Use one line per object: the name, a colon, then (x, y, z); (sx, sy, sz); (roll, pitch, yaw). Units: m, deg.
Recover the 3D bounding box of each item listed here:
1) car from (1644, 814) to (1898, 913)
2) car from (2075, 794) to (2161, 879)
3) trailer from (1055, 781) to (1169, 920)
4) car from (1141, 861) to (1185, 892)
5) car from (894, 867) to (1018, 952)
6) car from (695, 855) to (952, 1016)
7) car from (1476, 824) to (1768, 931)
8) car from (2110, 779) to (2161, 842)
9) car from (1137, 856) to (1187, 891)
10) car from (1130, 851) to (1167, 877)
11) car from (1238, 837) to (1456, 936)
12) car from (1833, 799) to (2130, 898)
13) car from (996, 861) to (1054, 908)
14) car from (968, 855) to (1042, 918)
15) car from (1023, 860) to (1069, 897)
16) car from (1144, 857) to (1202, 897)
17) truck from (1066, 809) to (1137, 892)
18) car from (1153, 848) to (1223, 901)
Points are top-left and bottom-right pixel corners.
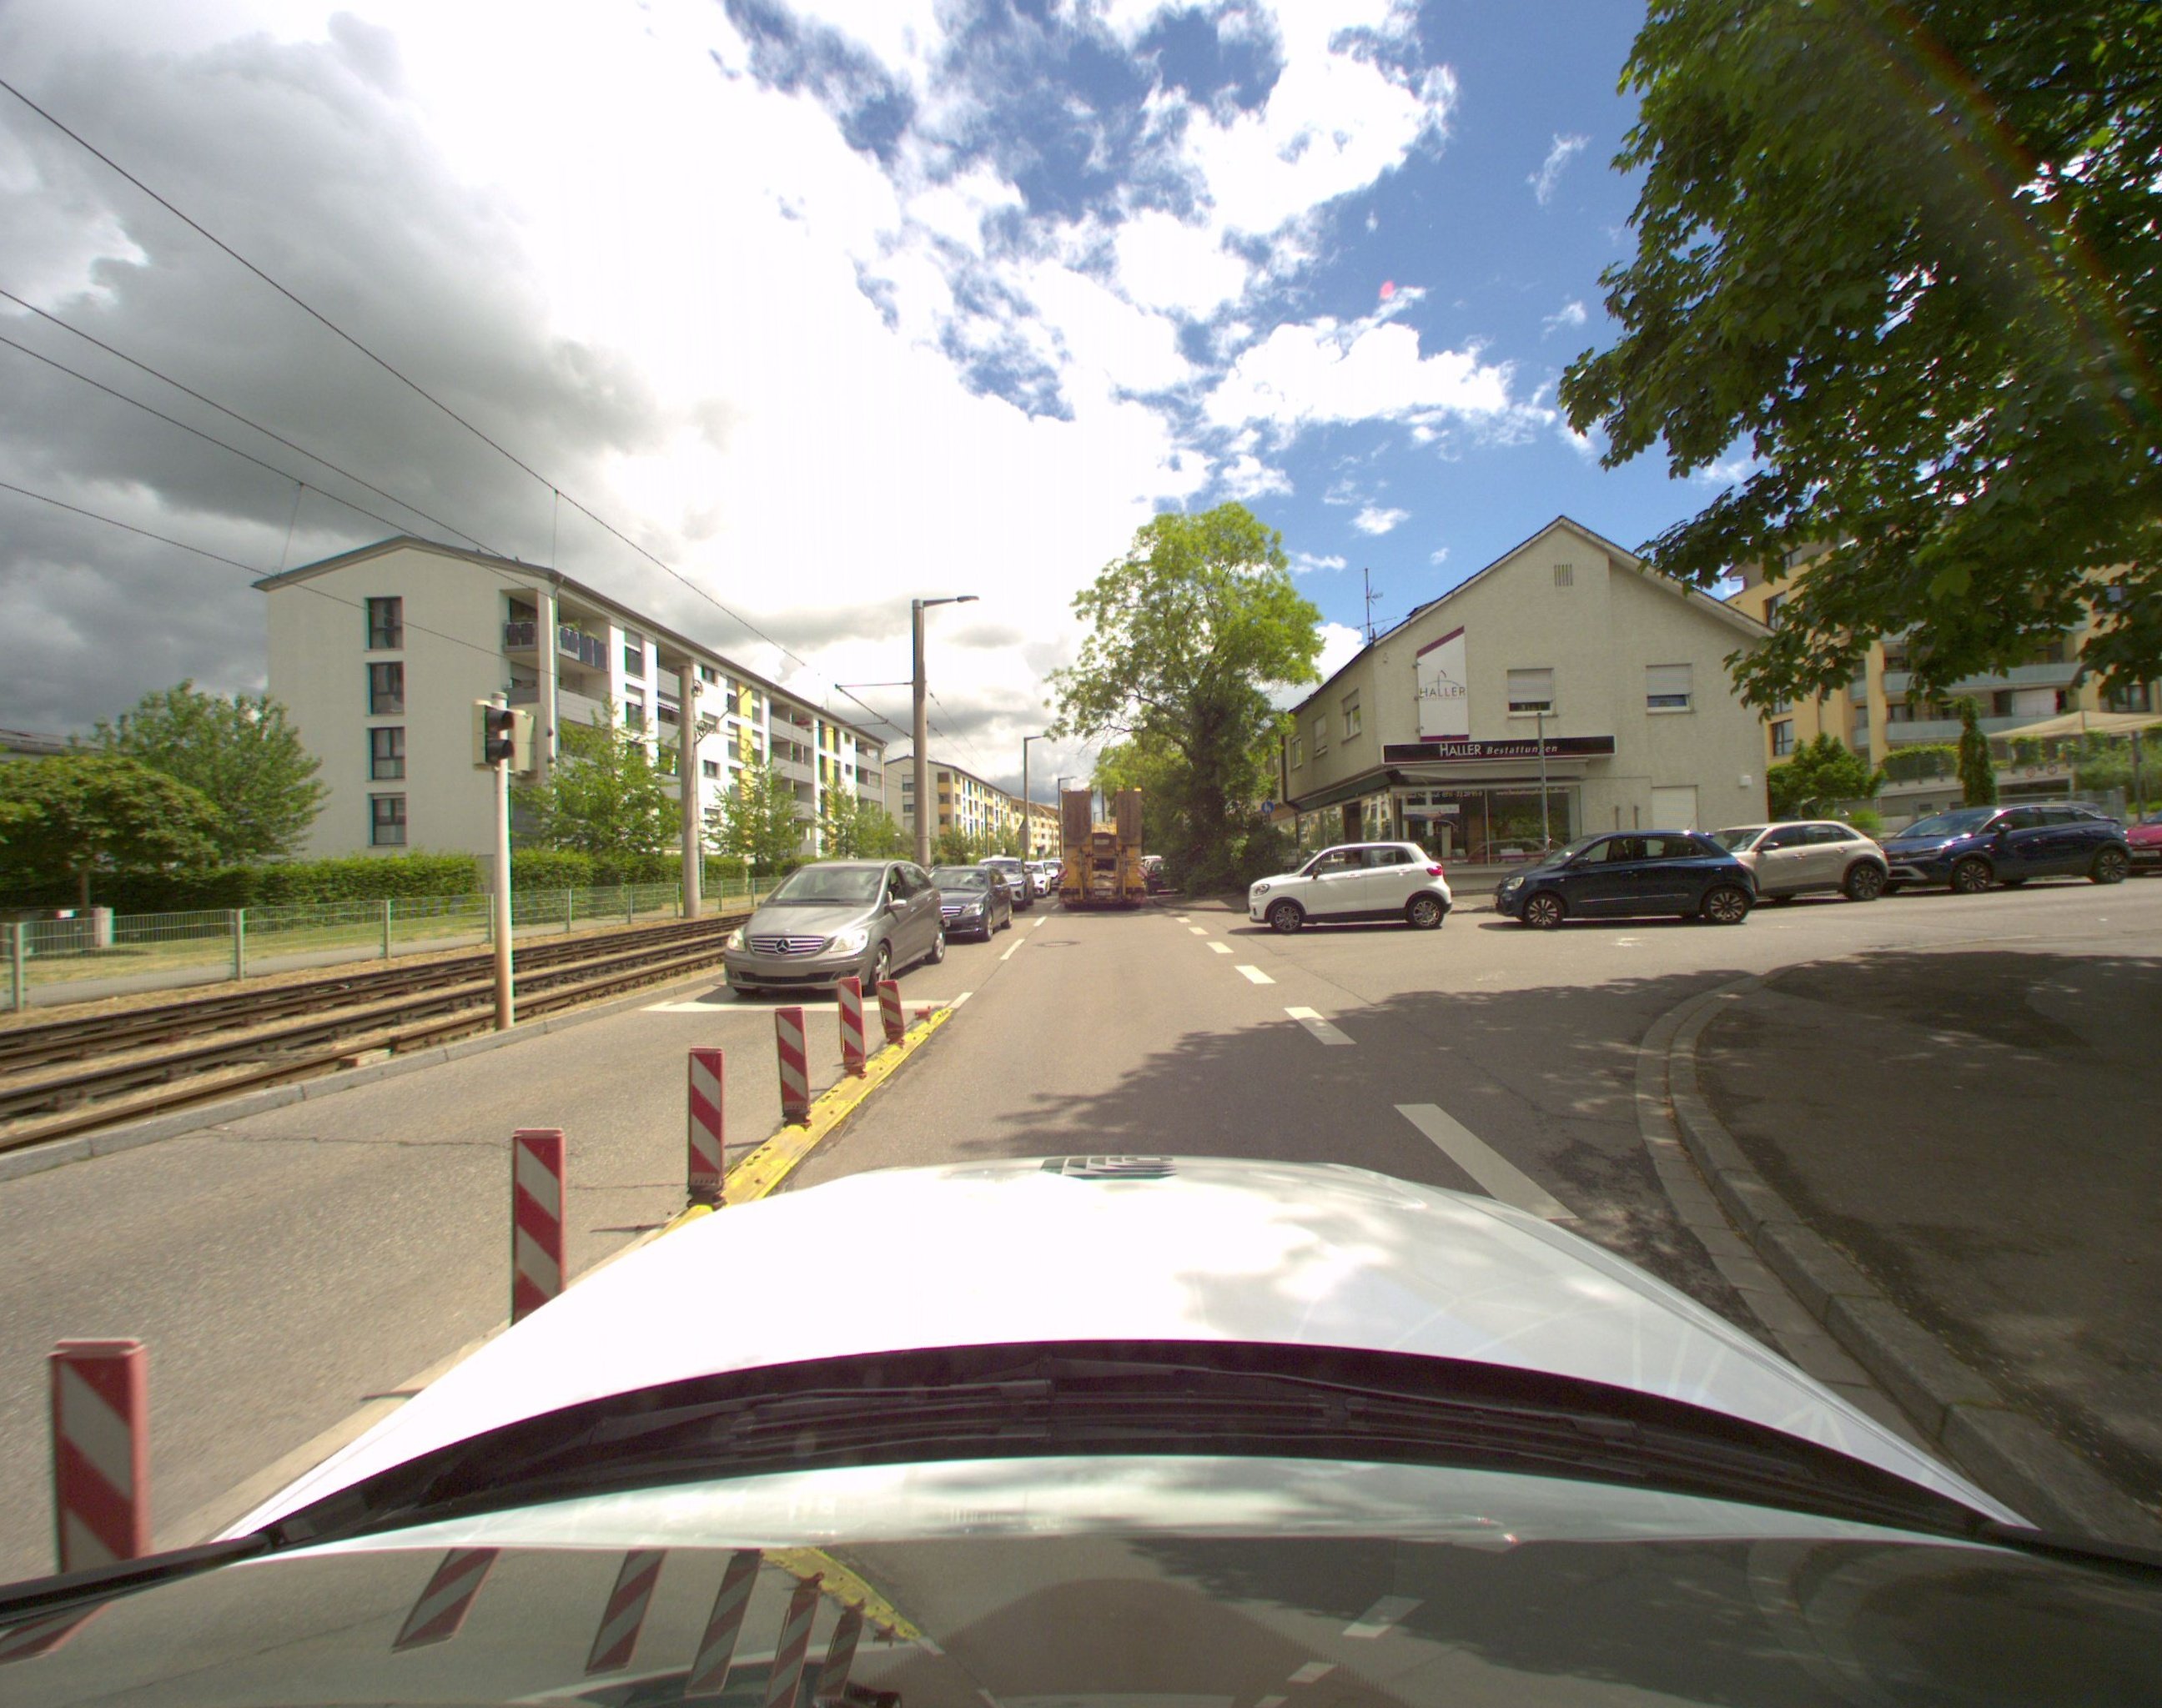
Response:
car: (12.807, 0.140, 15.226); (3.453, 1.523, 1.707); (-4, 1, -6)
car: (21.881, -0.423, 15.811); (3.437, 1.547, 1.545); (-3, 1, -3)
trailer: (0.784, -0.222, 28.870); (3.042, 3.772, 11.608); (-3, 1, -1)
car: (4.372, 1.168, 43.876); (1.987, 1.387, 4.001); (-3, 1, 1)
car: (-2.416, 1.033, 16.654); (1.595, 1.381, 3.961); (-3, 0, 4)
car: (-3.123, 0.889, 10.888); (1.794, 1.652, 4.136); (-3, 0, 4)
car: (8.854, 0.367, 13.745); (3.667, 1.522, 2.010); (-3, 1, 18)
car: (34.658, -1.381, 24.646); (1.987, 1.947, 4.001); (-3, 1, 1)
car: (3.855, 0.877, 39.369); (1.987, 1.387, 4.001); (-3, 1, 1)
car: (4.210, 0.576, 51.319); (1.987, 1.387, 4.001); (-3, 1, 1)
car: (4.853, 0.580, 15.280); (3.573, 1.584, 2.007); (-3, 0, 13)
car: (16.913, -0.120, 15.417); (3.871, 1.547, 1.709); (-3, 1, -3)
car: (-2.226, 1.198, 33.601); (1.987, 1.593, 3.892); (-3, 1, 1)
car: (-2.292, 0.929, 25.428); (1.595, 1.732, 3.942); (-3, 0, 4)
car: (-1.708, 1.188, 40.916); (1.987, 1.520, 3.892); (-3, 1, 1)
car: (3.800, 0.912, 34.222); (1.987, 1.387, 4.001); (-3, 1, 1)
truck: (0.788, -0.233, 38.038); (2.826, 3.330, 7.981); (-3, 1, -1)
car: (3.765, 0.671, 29.327); (1.987, 1.617, 4.001); (-3, 1, 1)
